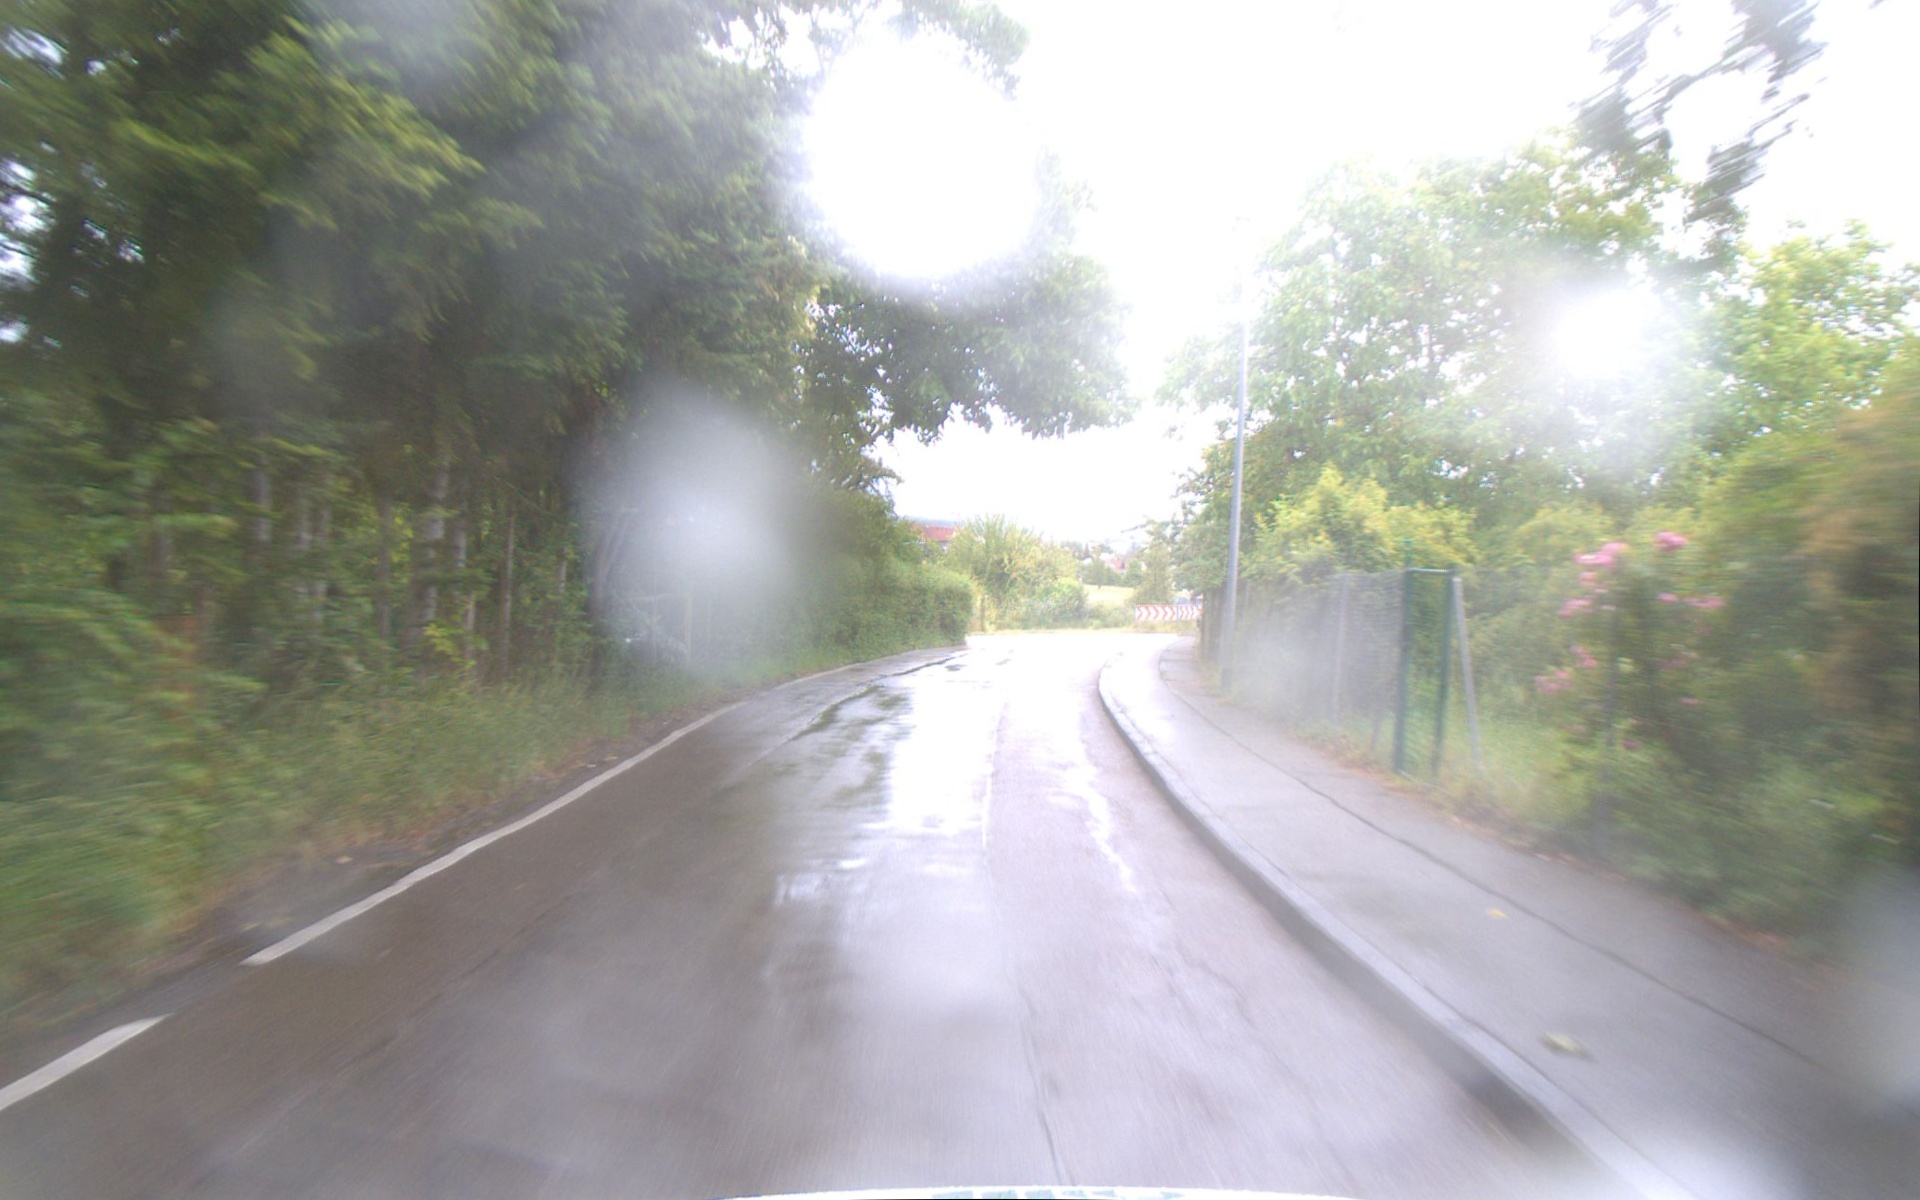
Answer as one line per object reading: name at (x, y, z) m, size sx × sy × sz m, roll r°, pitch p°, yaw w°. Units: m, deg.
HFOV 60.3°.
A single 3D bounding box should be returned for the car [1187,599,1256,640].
car at (10.658, 0.791, 67.327) m, size 1.778 × 1.622 × 3.998 m, roll 1°, pitch 0°, yaw 24°
